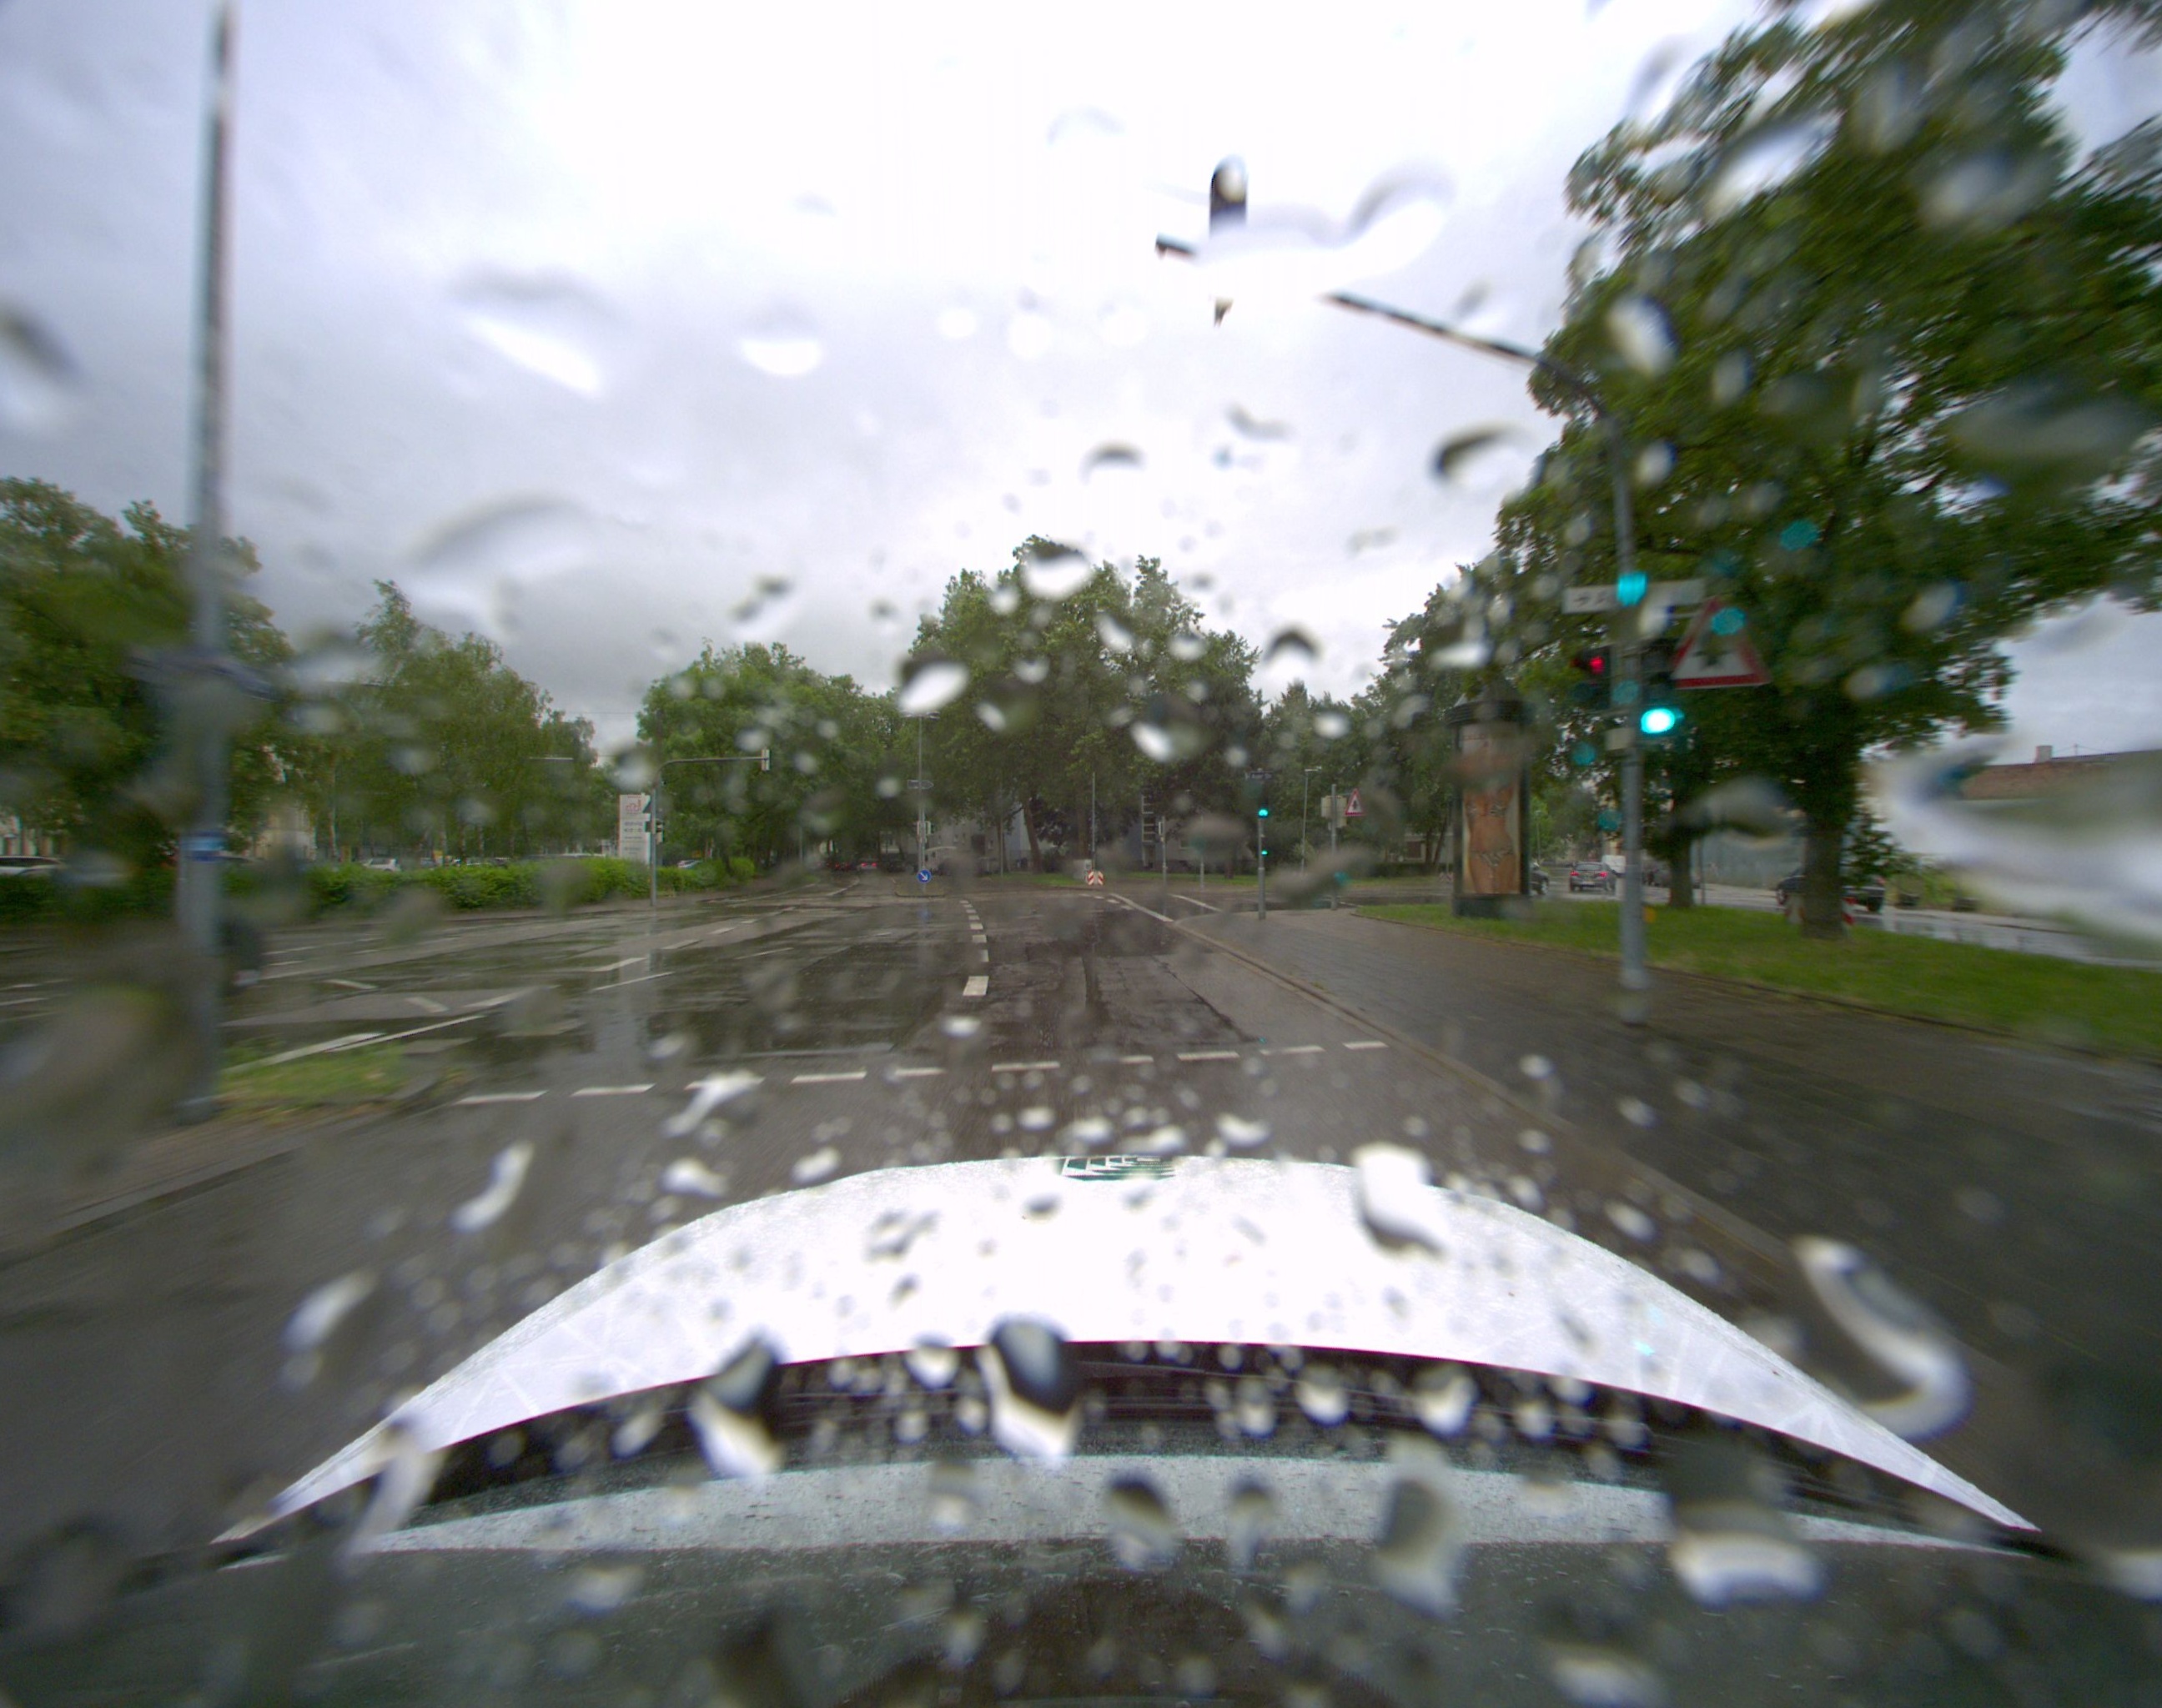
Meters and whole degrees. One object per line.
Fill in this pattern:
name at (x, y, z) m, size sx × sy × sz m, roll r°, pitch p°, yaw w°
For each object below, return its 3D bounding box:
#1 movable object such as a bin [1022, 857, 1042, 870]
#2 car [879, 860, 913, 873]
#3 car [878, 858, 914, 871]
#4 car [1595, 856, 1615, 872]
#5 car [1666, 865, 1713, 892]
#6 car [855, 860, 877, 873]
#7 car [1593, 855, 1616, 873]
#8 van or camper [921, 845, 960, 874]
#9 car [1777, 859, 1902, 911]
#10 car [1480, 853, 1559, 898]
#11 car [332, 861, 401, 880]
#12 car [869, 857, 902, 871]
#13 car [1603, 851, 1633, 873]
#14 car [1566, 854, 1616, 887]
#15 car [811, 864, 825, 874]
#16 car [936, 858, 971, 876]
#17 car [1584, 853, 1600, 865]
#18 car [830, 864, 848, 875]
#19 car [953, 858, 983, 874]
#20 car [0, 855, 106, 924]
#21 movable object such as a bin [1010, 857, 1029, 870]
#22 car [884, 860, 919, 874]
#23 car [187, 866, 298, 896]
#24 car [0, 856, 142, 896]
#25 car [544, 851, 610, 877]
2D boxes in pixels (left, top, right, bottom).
movable object such as a bin at (-5.293, 1.047, 88.007) m, size 1.223 × 1.432 × 1.840 m, roll 1°, pitch -1°, yaw -44°
car at (-22.939, 1.580, 101.027) m, size 1.780 × 1.601 × 4.025 m, roll 0°, pitch -1°, yaw 34°
car at (-23.613, 1.355, 103.972) m, size 2.009 × 1.601 × 4.025 m, roll 0°, pitch -1°, yaw 37°
car at (68.774, 1.327, 106.993) m, size 1.975 × 2.014 × 4.024 m, roll 0°, pitch -1°, yaw 29°
car at (36.331, 1.427, 48.732) m, size 1.955 × 1.549 × 4.558 m, roll 0°, pitch -1°, yaw 33°
car at (-24.922, 1.387, 94.255) m, size 1.715 × 1.411 × 3.613 m, roll -2°, pitch 1°, yaw -26°
car at (63.003, 1.199, 98.070) m, size 2.096 × 2.014 × 4.024 m, roll 0°, pitch -1°, yaw 29°
van or camper at (-14.356, 0.577, 82.597) m, size 2.329 × 2.807 × 6.809 m, roll 0°, pitch -1°, yaw -24°
car at (26.298, 1.008, 28.428) m, size 1.837 × 1.654 × 4.328 m, roll 0°, pitch -1°, yaw 23°
car at (18.358, 0.852, 33.975) m, size 1.975 × 1.744 × 4.331 m, roll 0°, pitch -1°, yaw 41°
car at (-60.353, 1.383, 68.848) m, size 4.009 × 1.560 × 1.982 m, roll -1°, pitch 0°, yaw -28°
car at (-25.551, 1.297, 106.305) m, size 1.814 × 1.697 × 3.893 m, roll 0°, pitch 2°, yaw 36°
car at (55.828, 0.845, 84.769) m, size 2.327 × 2.208 × 4.641 m, roll 0°, pitch -1°, yaw 30°
car at (26.214, 0.837, 41.804) m, size 1.974 × 1.602 × 4.114 m, roll 0°, pitch -1°, yaw 34°
car at (-41.474, 2.341, 128.385) m, size 1.715 × 1.411 × 3.613 m, roll -2°, pitch 1°, yaw -26°
car at (-11.820, 1.240, 75.477) m, size 1.926 × 1.620 × 4.414 m, roll 1°, pitch -2°, yaw -27°
car at (83.314, 0.853, 132.806) m, size 1.975 × 2.014 × 4.024 m, roll 0°, pitch -1°, yaw 29°
car at (-33.615, 2.130, 112.991) m, size 1.715 × 1.411 × 3.613 m, roll -2°, pitch 1°, yaw -26°
car at (-9.820, 1.017, 70.457) m, size 1.555 × 1.390 × 4.117 m, roll 1°, pitch -1°, yaw -23°
car at (-28.214, 0.904, 21.659) m, size 1.789 × 1.686 × 3.984 m, roll -1°, pitch 0°, yaw -32°
movable object such as a bin at (-6.741, 1.029, 89.355) m, size 1.223 × 1.432 × 1.840 m, roll 1°, pitch -1°, yaw -44°
car at (-21.486, 1.536, 97.613) m, size 1.780 × 1.601 × 3.792 m, roll 0°, pitch -1°, yaw 34°
car at (-48.698, 1.535, 47.425) m, size 4.009 × 1.559 × 2.145 m, roll -1°, pitch 0°, yaw -28°
car at (-42.420, 0.889, 33.833) m, size 4.010 × 1.519 × 1.982 m, roll -1°, pitch 0°, yaw -28°
car at (-36.951, 0.722, 59.851) m, size 4.011 × 1.833 × 1.837 m, roll 1°, pitch -1°, yaw -29°
